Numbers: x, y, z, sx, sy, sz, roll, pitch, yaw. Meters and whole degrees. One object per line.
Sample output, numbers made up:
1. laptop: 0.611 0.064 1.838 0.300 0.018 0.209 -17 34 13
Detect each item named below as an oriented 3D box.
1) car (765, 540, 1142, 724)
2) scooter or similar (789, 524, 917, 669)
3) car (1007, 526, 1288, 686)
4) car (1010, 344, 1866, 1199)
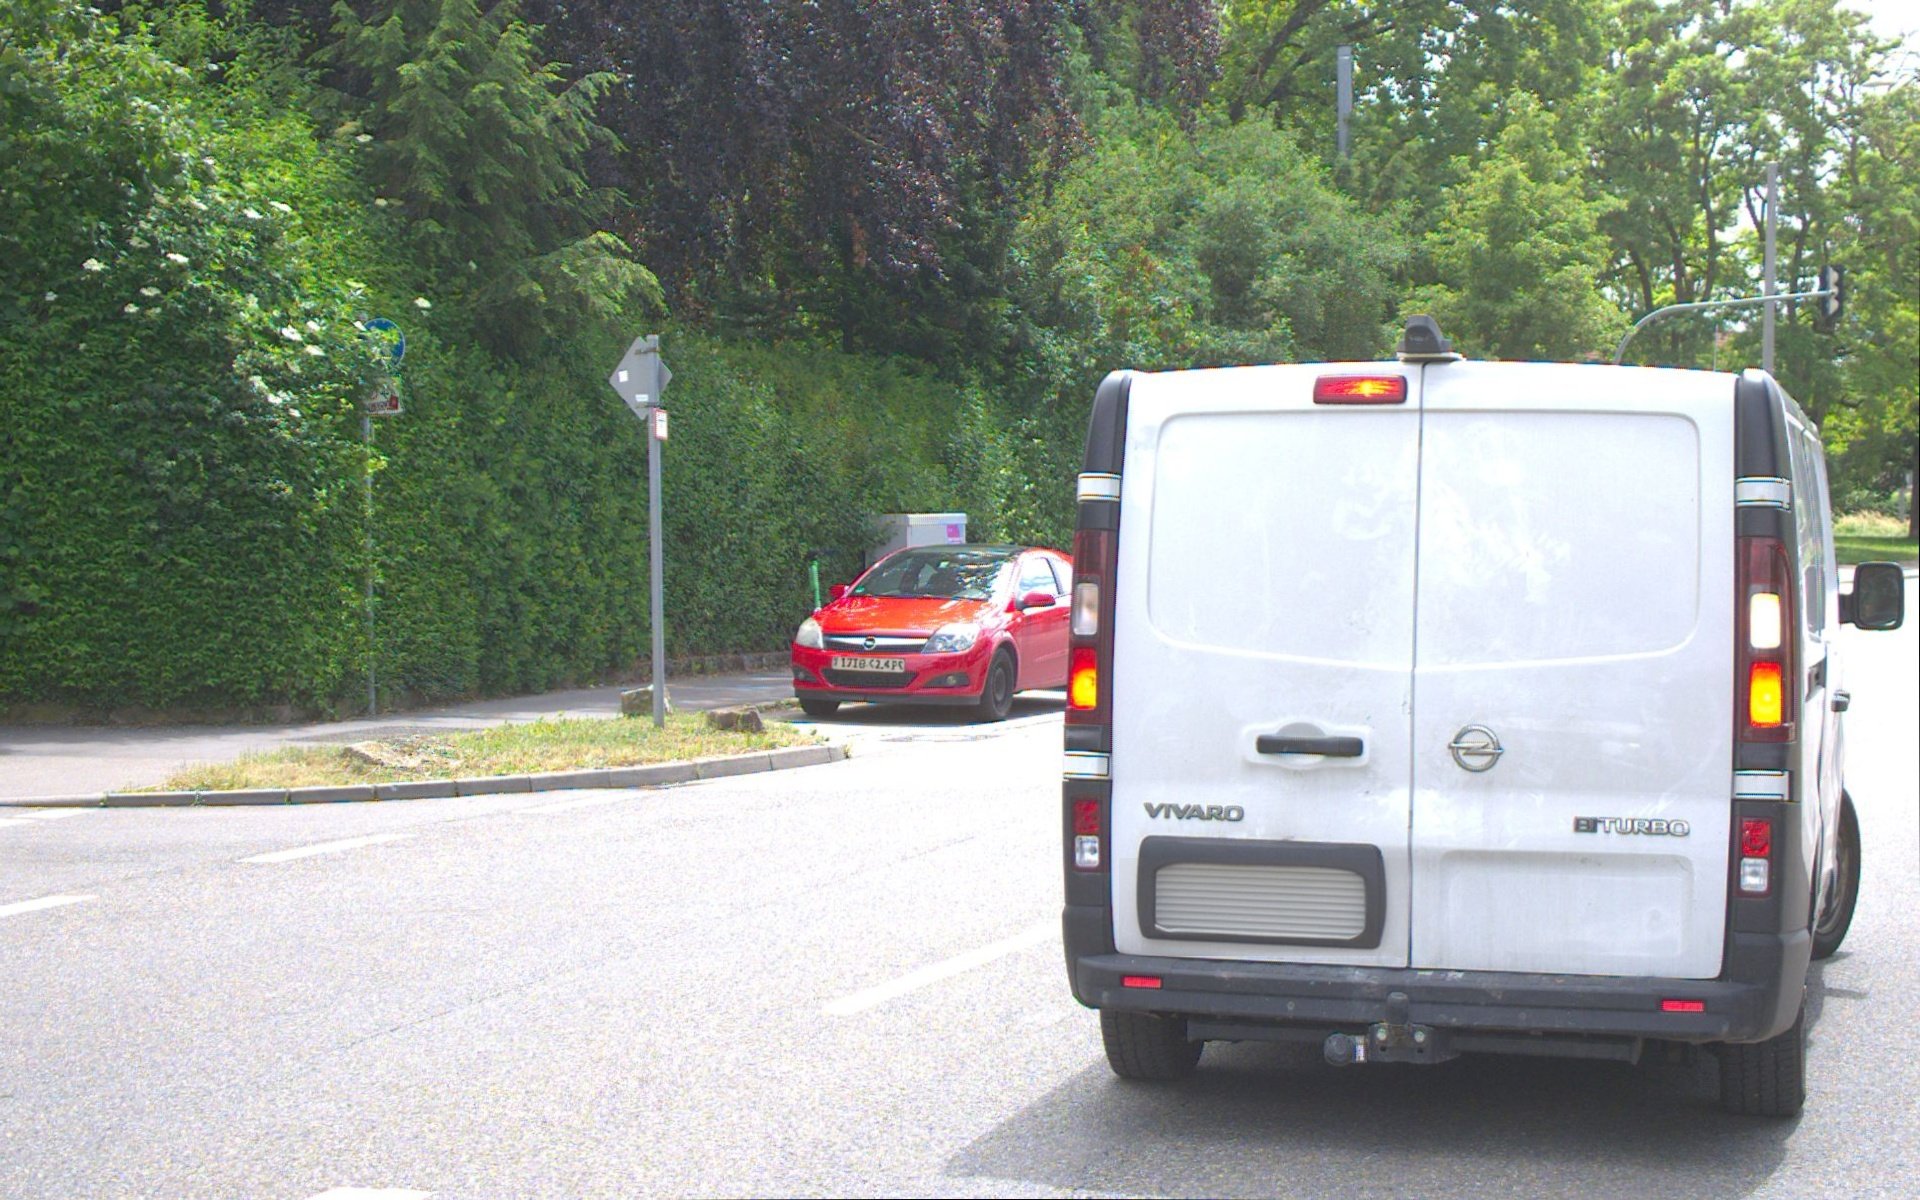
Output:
1. car: 0.046 0.204 29.065 1.662 1.373 4.561 1 2 21
2. scooter or similar: -1.069 -0.051 34.758 0.671 1.407 1.647 1 2 22
3. car: 1.921 0.009 34.020 1.651 1.445 4.101 1 2 20
4. car: 1.718 0.319 10.521 1.940 1.954 4.830 2 2 15
